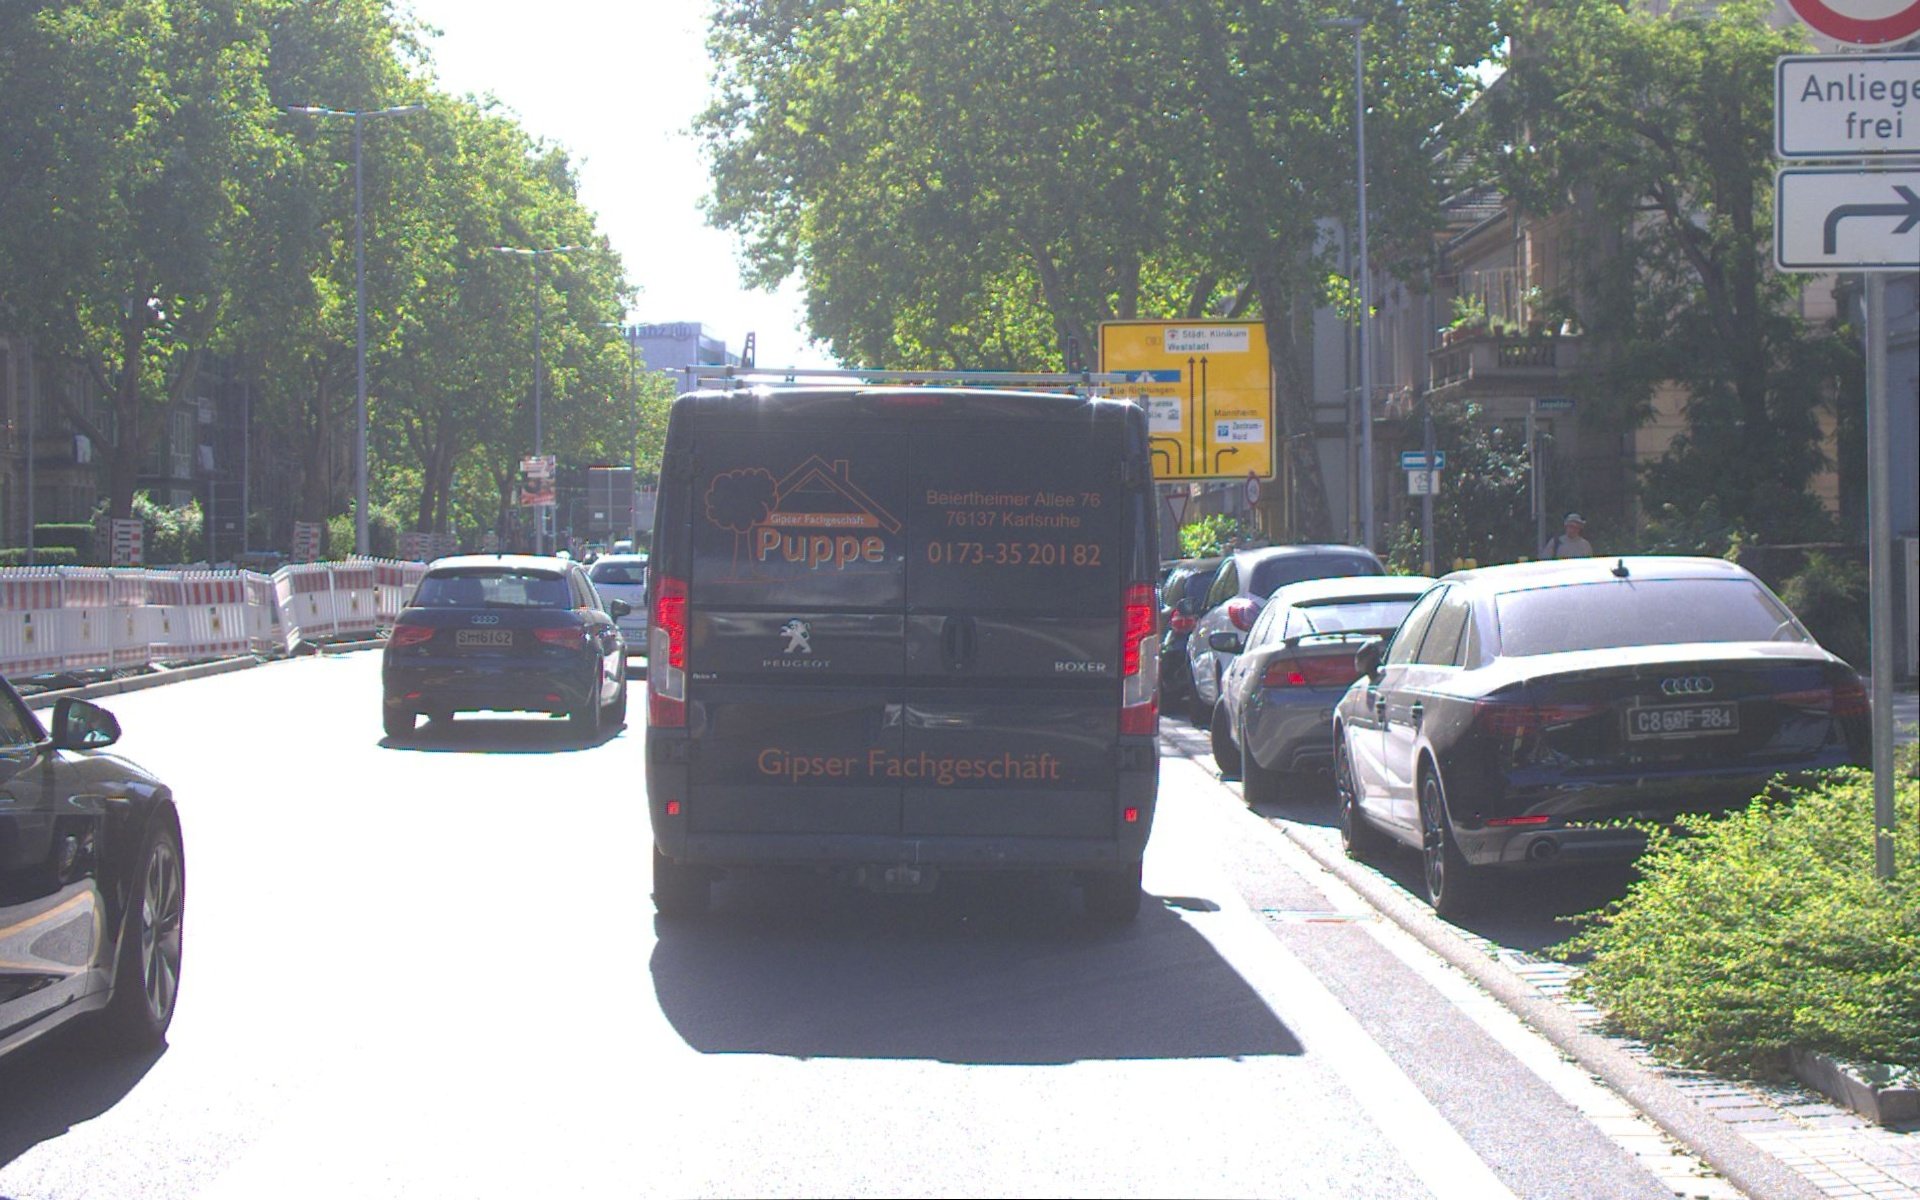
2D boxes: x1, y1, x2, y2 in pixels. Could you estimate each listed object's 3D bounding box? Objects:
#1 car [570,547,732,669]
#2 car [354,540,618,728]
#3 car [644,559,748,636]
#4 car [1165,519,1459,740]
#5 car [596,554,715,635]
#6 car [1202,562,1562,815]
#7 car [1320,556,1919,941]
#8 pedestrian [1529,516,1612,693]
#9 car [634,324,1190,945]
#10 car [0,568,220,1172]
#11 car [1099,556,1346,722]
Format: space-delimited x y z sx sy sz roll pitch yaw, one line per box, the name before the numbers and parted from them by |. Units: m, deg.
car | -3.728 0.074 41.993 1.548 1.420 3.555 0 1 2
car | -3.799 0.228 28.124 1.746 1.402 4.001 1 1 -2
car | -4.306 -0.057 56.421 1.421 1.221 3.438 0 1 0
car | 2.825 0.203 28.354 1.844 1.638 3.801 -2 1 -2
car | -6.042 -0.127 68.603 1.993 1.465 4.000 1 2 0
car | 2.545 0.486 21.568 1.844 1.403 3.800 -1 1 1
car | 2.789 0.540 15.398 1.844 1.437 4.487 -1 1 0
pedestrian | 7.057 0.041 39.793 0.798 2.007 1.168 -1 1 4
car | -0.243 0.083 15.031 2.095 2.347 3.933 0 1 -2
car | -3.262 0.648 8.380 1.925 1.407 4.626 2 1 -1
car | 2.403 0.320 32.294 1.844 1.403 3.801 -2 1 -2
